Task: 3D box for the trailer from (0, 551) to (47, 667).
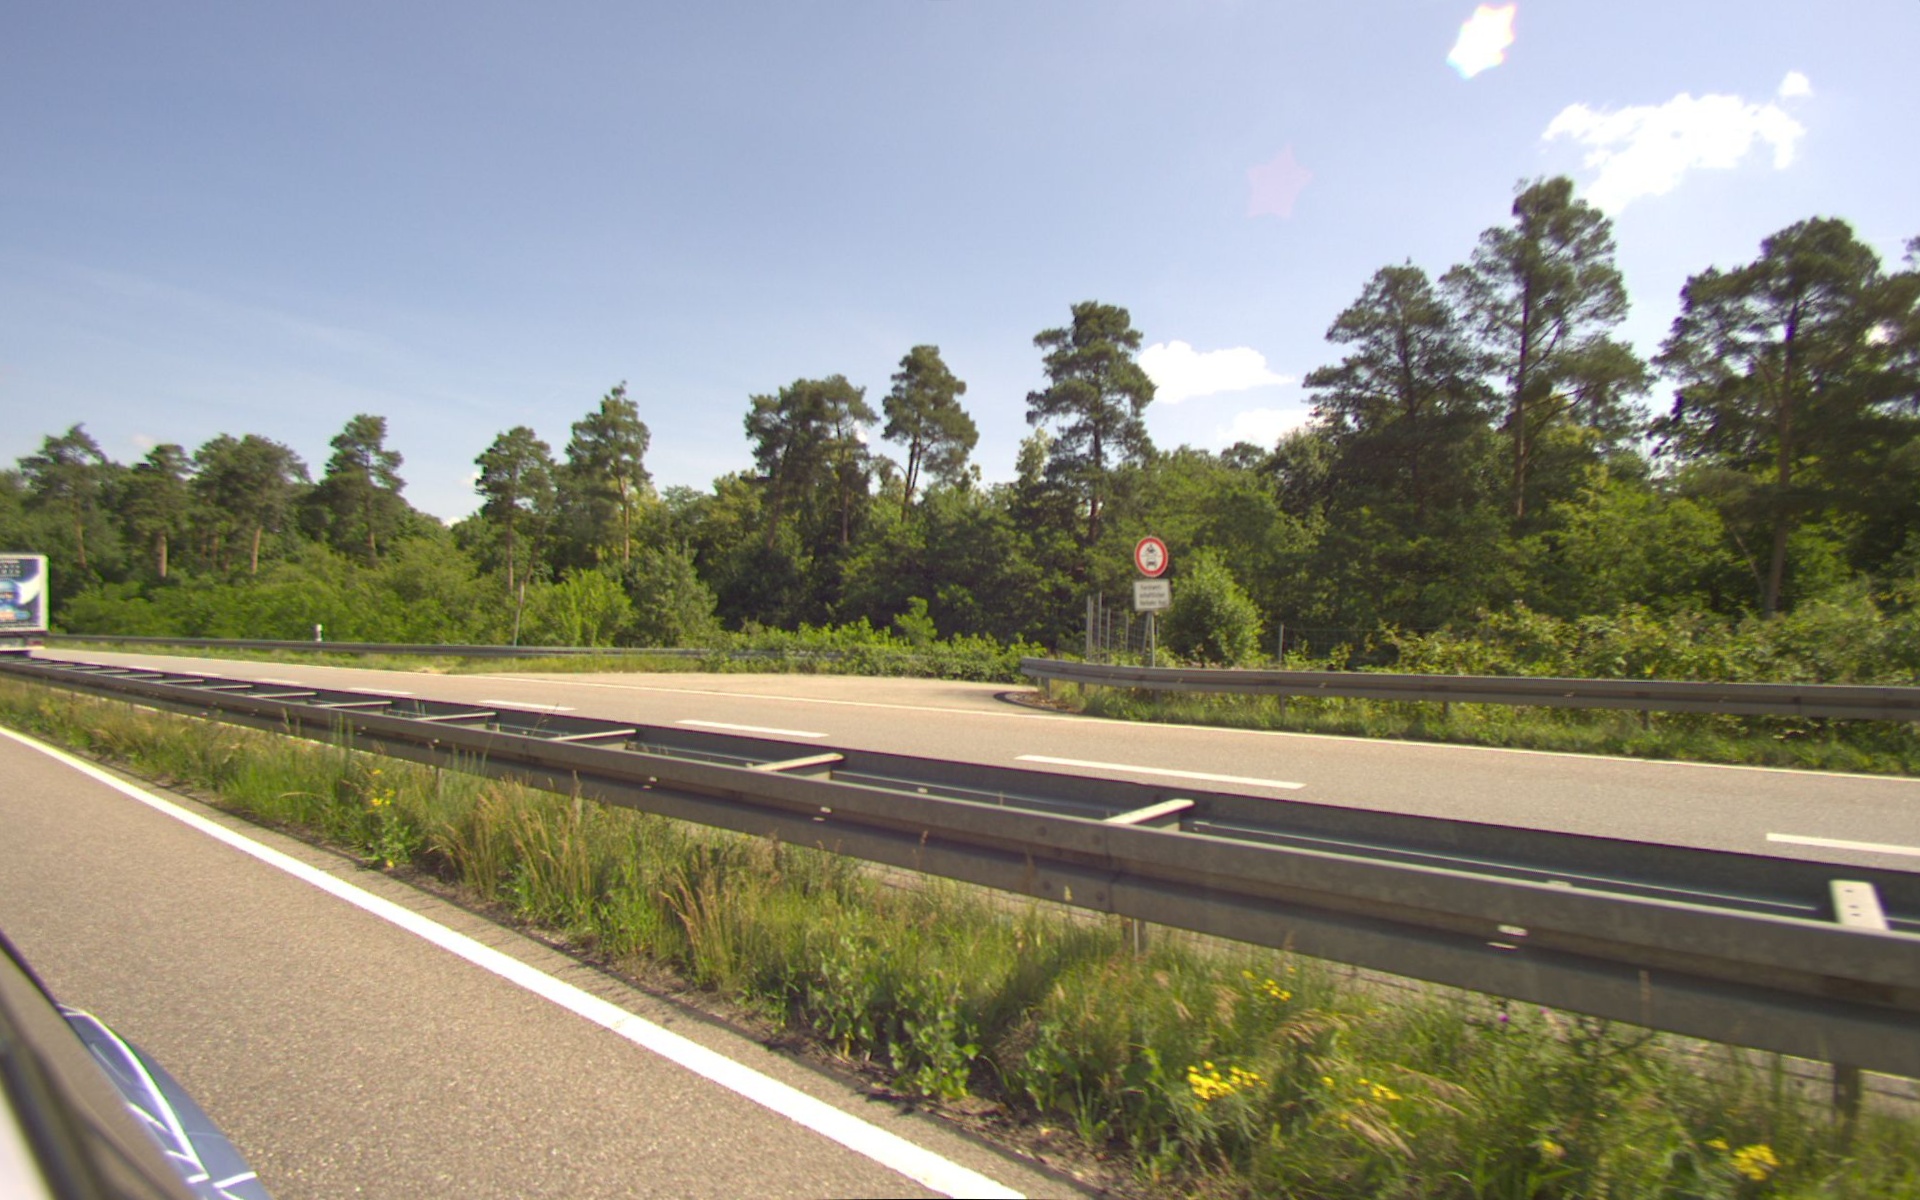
[{"bbox_3d":[-40.454,0.461,40.992,14.041,4.220,2.643,-1,-2,38],"label":"trailer"}]
